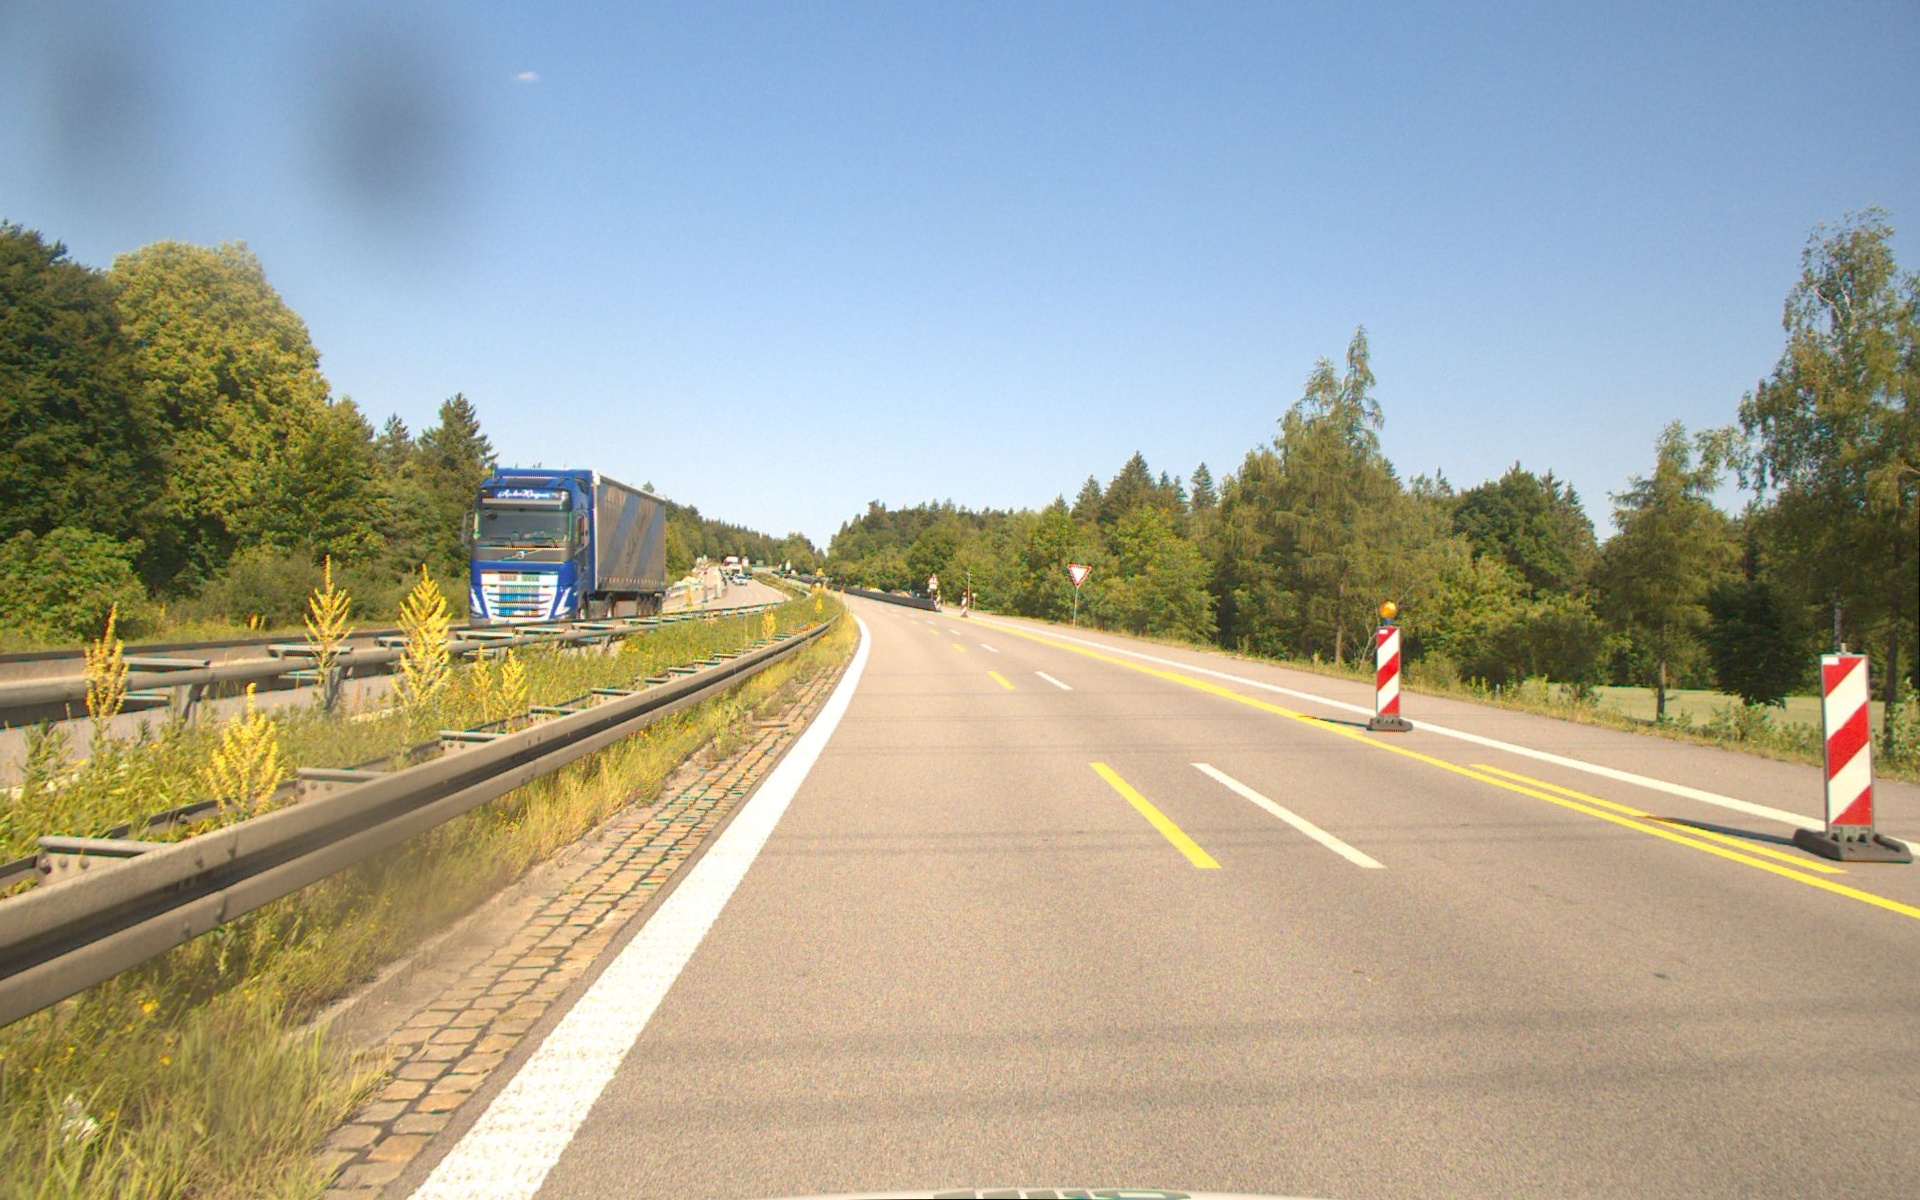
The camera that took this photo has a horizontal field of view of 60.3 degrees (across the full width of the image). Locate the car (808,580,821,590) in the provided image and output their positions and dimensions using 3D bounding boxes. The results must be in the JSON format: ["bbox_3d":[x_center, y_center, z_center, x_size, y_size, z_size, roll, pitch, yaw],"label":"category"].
[{"bbox_3d":[-22.227,-2.291,252.452,1.711,1.491,4.286,3,1,-9],"label":"car"}]

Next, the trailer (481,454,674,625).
[{"bbox_3d":[-10.308,-1.535,46.310,2.625,4.023,13.764,1,1,-2],"label":"trailer"}]

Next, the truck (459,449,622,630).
[{"bbox_3d":[-10.053,-1.365,40.201,2.579,4.028,5.840,1,0,-2],"label":"truck"}]
